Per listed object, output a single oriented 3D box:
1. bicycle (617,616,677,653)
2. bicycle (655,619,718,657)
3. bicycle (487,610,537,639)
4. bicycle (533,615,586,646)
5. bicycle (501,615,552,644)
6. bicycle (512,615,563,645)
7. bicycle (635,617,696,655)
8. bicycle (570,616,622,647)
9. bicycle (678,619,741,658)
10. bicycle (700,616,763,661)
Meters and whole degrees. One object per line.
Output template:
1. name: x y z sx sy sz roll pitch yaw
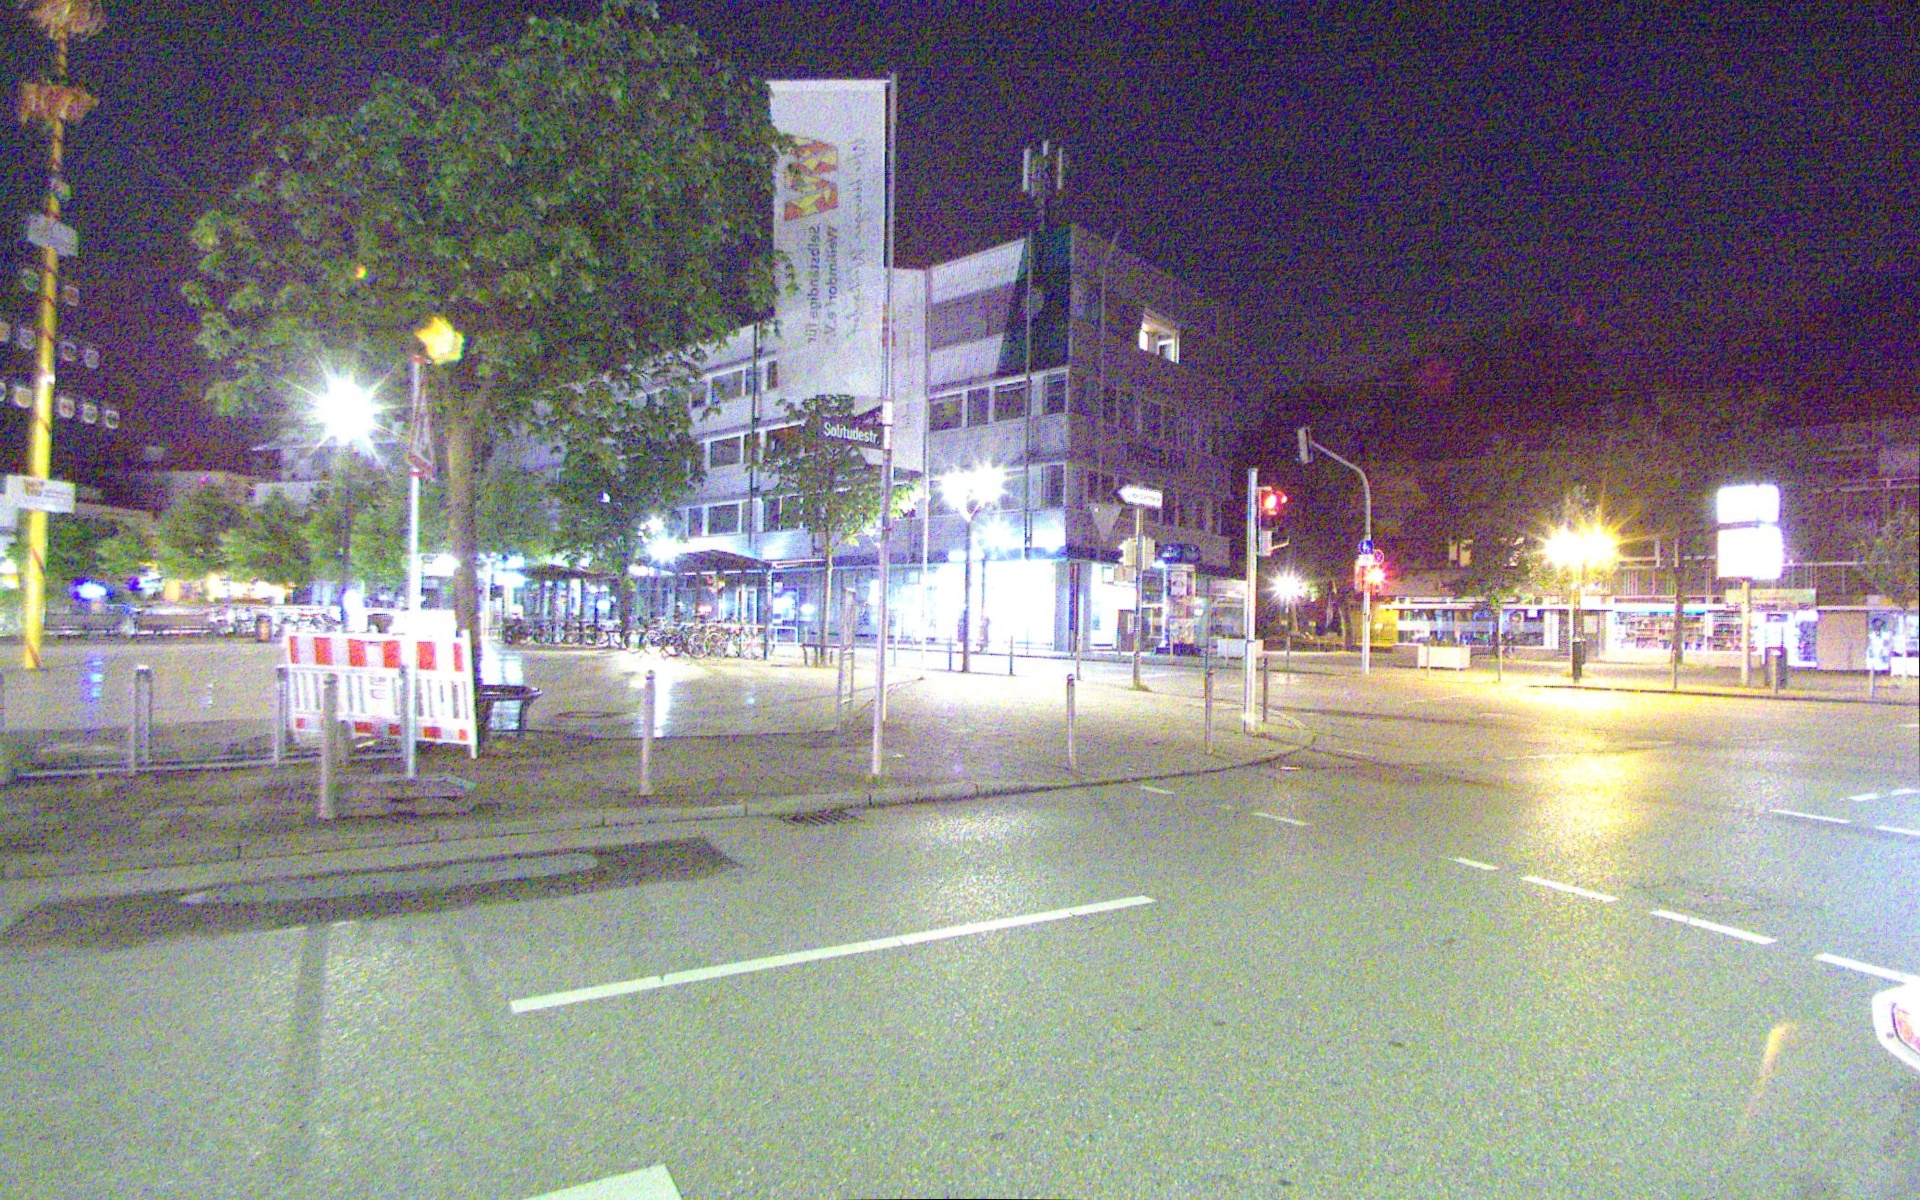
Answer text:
1. bicycle: -8.530 0.948 27.424 0.473 0.970 1.525 2 0 44
2. bicycle: -7.107 0.985 26.143 0.473 0.970 1.525 2 0 44
3. bicycle: -15.550 0.864 34.884 0.473 0.970 1.525 2 0 44
4. bicycle: -13.178 1.008 33.067 0.473 0.970 1.525 2 0 44
5. bicycle: -14.835 1.004 34.397 0.473 0.970 1.525 2 0 44
6. bicycle: -14.184 0.996 33.739 0.473 0.970 1.525 2 0 44
7. bicycle: -7.850 0.966 26.823 0.473 0.970 1.525 2 0 44
8. bicycle: -11.988 1.044 33.112 0.473 0.970 1.525 2 0 44
9. bicycle: -6.365 0.974 25.574 0.440 0.970 1.525 2 0 43
10. bicycle: -5.650 0.954 24.926 0.440 1.068 1.525 2 0 43
